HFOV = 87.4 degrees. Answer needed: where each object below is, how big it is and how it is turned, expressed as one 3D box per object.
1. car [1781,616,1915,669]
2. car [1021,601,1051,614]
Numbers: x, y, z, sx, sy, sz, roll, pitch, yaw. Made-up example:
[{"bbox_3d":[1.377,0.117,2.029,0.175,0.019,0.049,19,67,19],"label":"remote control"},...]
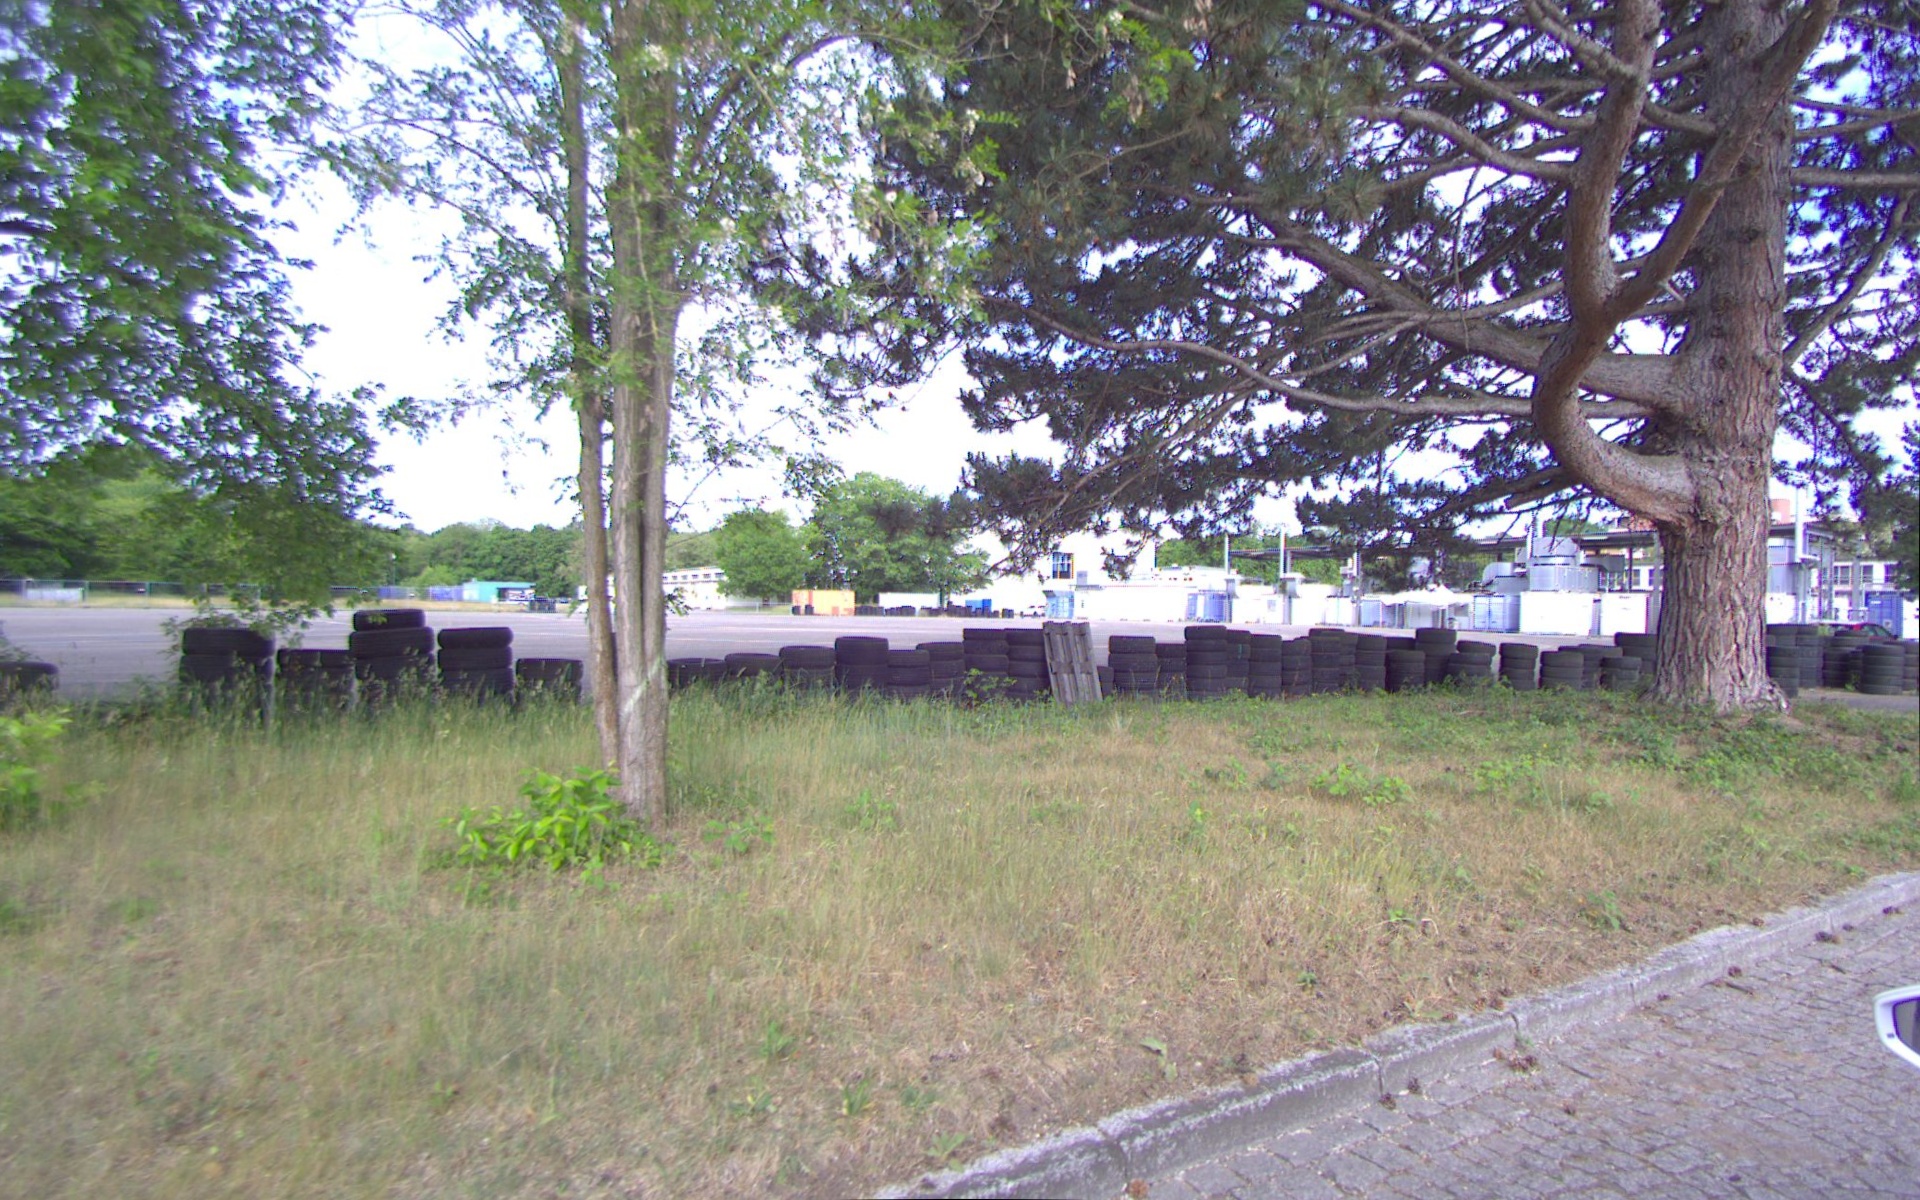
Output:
[{"bbox_3d":[26.409,1.253,29.867,3.441,1.472,1.762,1,0,-25],"label":"car"},{"bbox_3d":[9.358,0.944,124.026,1.612,1.553,3.944,1,0,-32],"label":"car"}]
